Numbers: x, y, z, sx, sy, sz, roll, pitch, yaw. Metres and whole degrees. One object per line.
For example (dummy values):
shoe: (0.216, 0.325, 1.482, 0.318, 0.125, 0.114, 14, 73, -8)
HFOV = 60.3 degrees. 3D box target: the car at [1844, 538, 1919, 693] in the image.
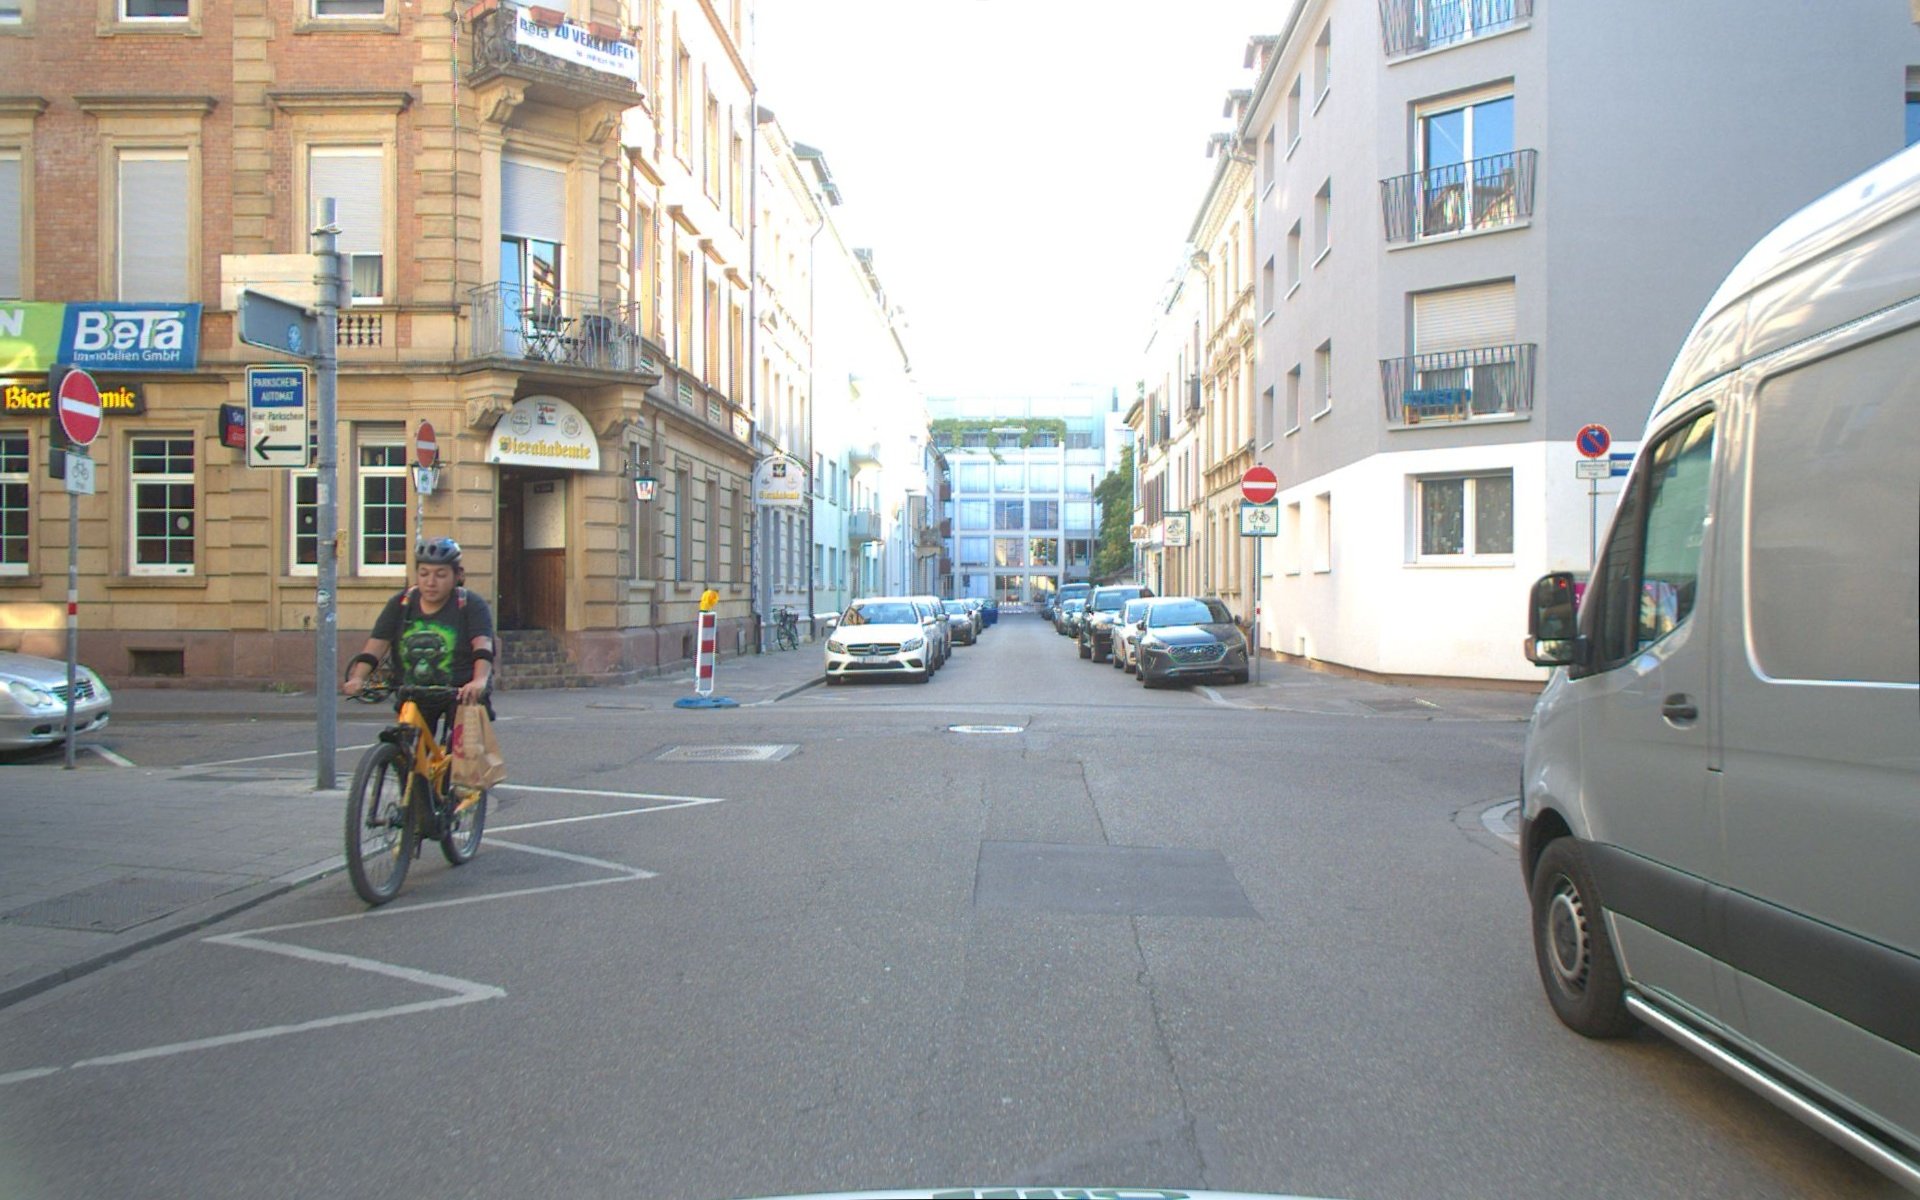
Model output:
car: (13.444, 0.190, 20.502, 4.085, 1.845, 1.637, 0, 0, 1)

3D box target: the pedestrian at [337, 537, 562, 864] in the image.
pedestrian: (-2.595, 0.481, 8.525, 0.812, 1.572, 1.083, 0, 0, 0)

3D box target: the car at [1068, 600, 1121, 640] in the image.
car: (5.249, 0.771, 65.152, 1.952, 1.476, 4.002, 1, 0, 3)

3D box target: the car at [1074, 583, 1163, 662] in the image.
car: (3.785, 0.506, 40.045, 1.854, 1.815, 4.001, 0, 0, 1)

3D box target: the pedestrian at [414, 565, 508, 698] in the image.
pedestrian: (-6.797, 0.420, 22.579, 0.993, 1.772, 0.984, 1, 0, -3)

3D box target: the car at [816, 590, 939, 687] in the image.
car: (-1.395, 0.627, 29.706, 1.952, 1.591, 4.506, 0, 1, 0)

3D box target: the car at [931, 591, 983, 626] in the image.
car: (-0.117, 0.346, 70.481, 2.128, 1.443, 4.000, 0, 0, 0)

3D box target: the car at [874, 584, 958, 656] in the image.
car: (-1.051, 0.460, 41.197, 1.748, 1.687, 3.818, 0, 0, 3)

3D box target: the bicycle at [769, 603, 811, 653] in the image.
bicycle: (-4.231, 0.689, 41.300, 0.722, 1.181, 2.462, 1, 0, 2)

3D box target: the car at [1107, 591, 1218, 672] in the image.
car: (4.173, 0.603, 34.609, 1.923, 1.584, 3.890, 0, 0, 1)

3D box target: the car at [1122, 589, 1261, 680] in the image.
car: (3.917, 0.541, 28.541, 1.898, 1.396, 3.789, -2, 1, 1)

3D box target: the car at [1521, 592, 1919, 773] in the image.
car: (7.422, 0.659, 14.195, 4.614, 1.433, 1.891, 0, 0, 5)

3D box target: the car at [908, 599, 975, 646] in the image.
car: (-0.538, 0.689, 52.570, 1.952, 1.378, 4.430, 0, 0, 2)

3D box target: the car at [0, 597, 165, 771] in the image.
car: (-9.832, 0.710, 14.991, 4.382, 1.426, 1.757, 0, 2, 0)

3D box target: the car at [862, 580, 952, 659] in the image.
car: (-1.078, 0.378, 35.453, 1.591, 1.604, 3.756, 0, 0, 3)

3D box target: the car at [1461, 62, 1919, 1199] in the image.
car: (3.113, 0.137, 3.997, 2.229, 2.482, 6.206, 0, 0, 3)

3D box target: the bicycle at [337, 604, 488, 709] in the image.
bicycle: (-7.085, 0.724, 21.452, 1.722, 1.297, 0.661, 0, 3, -2)

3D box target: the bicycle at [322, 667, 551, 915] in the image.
bicycle: (-2.620, 0.908, 8.496, 0.527, 1.025, 1.981, 0, 0, 1)
